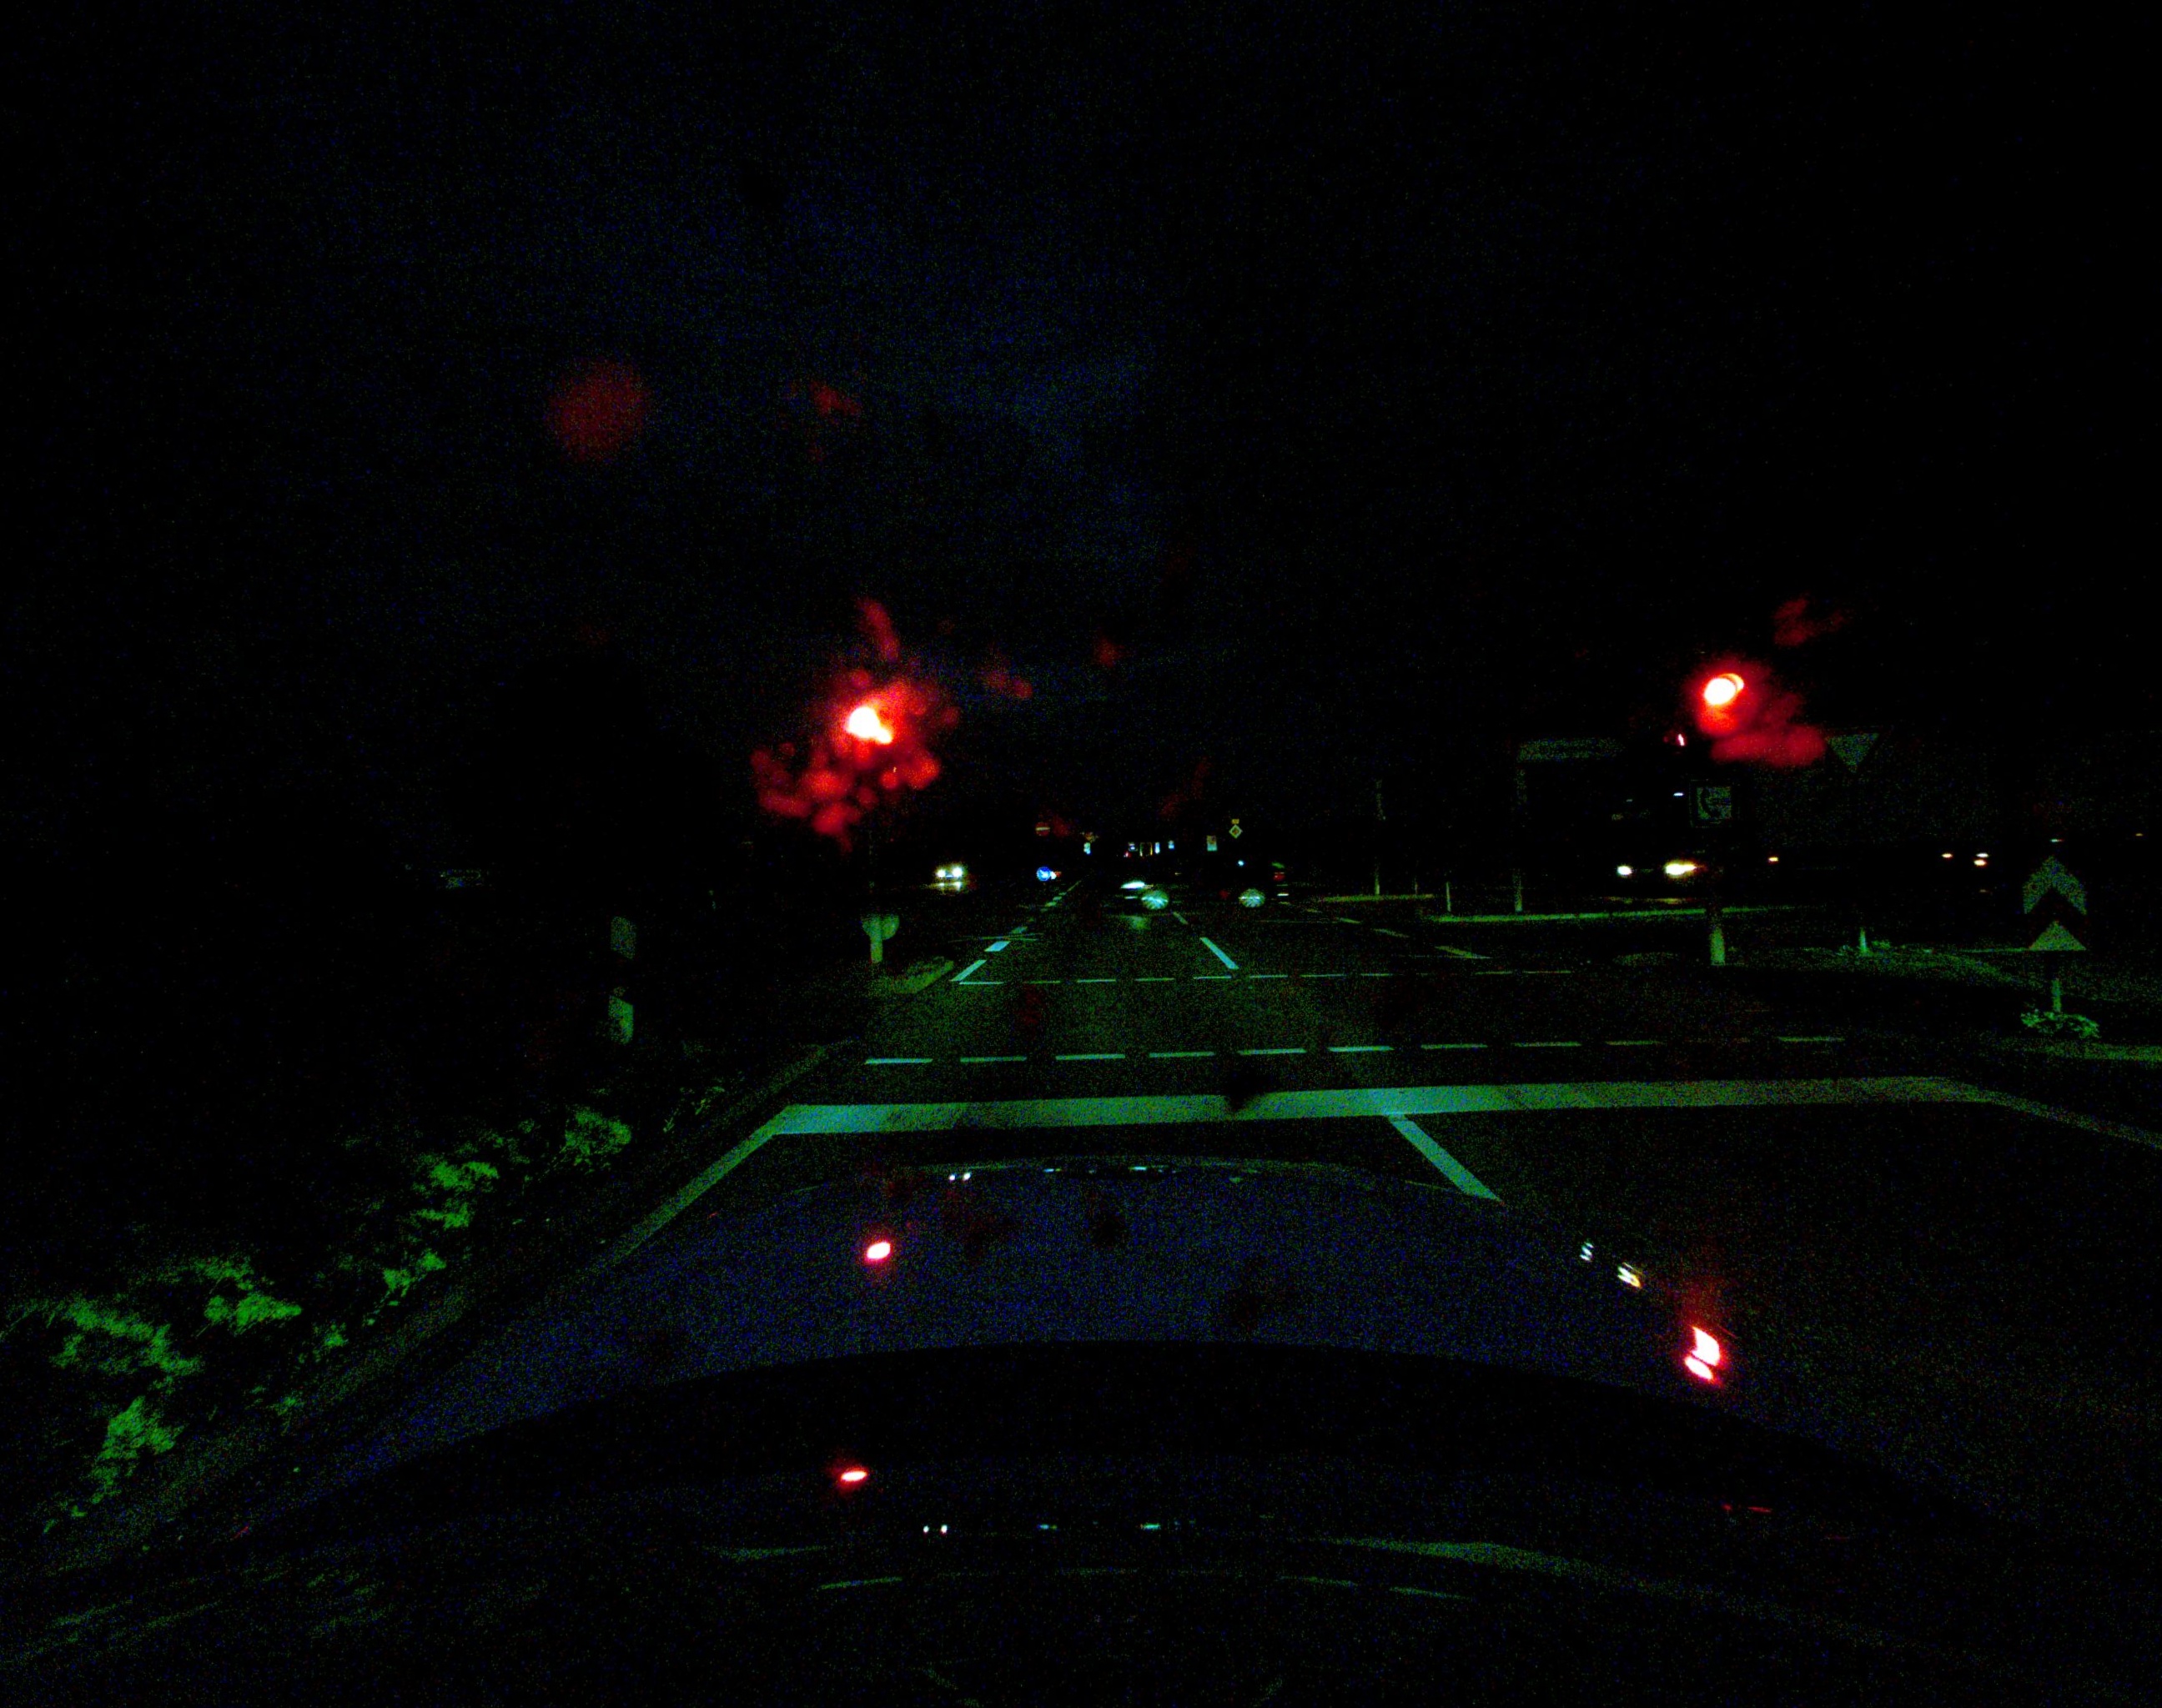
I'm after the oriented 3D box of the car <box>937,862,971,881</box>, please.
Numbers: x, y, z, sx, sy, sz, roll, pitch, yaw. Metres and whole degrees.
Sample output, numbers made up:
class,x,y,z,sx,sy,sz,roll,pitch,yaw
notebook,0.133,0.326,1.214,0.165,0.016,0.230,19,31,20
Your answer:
class,x,y,z,sx,sy,sz,roll,pitch,yaw
car,-10.248,1.383,65.861,1.986,1.387,4.002,-2,0,2

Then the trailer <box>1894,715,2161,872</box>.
class,x,y,z,sx,sy,sz,roll,pitch,yaw
trailer,30.317,-1.812,24.836,9.039,4.302,2.916,-2,0,-9

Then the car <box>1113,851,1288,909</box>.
class,x,y,z,sx,sy,sz,roll,pitch,yaw
car,3.277,0.692,22.972,4.591,1.520,1.997,-1,0,-4

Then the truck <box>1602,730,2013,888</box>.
class,x,y,z,sx,sy,sz,roll,pitch,yaw
truck,20.913,-1.287,23.700,10.027,3.979,2.918,-2,0,-6
